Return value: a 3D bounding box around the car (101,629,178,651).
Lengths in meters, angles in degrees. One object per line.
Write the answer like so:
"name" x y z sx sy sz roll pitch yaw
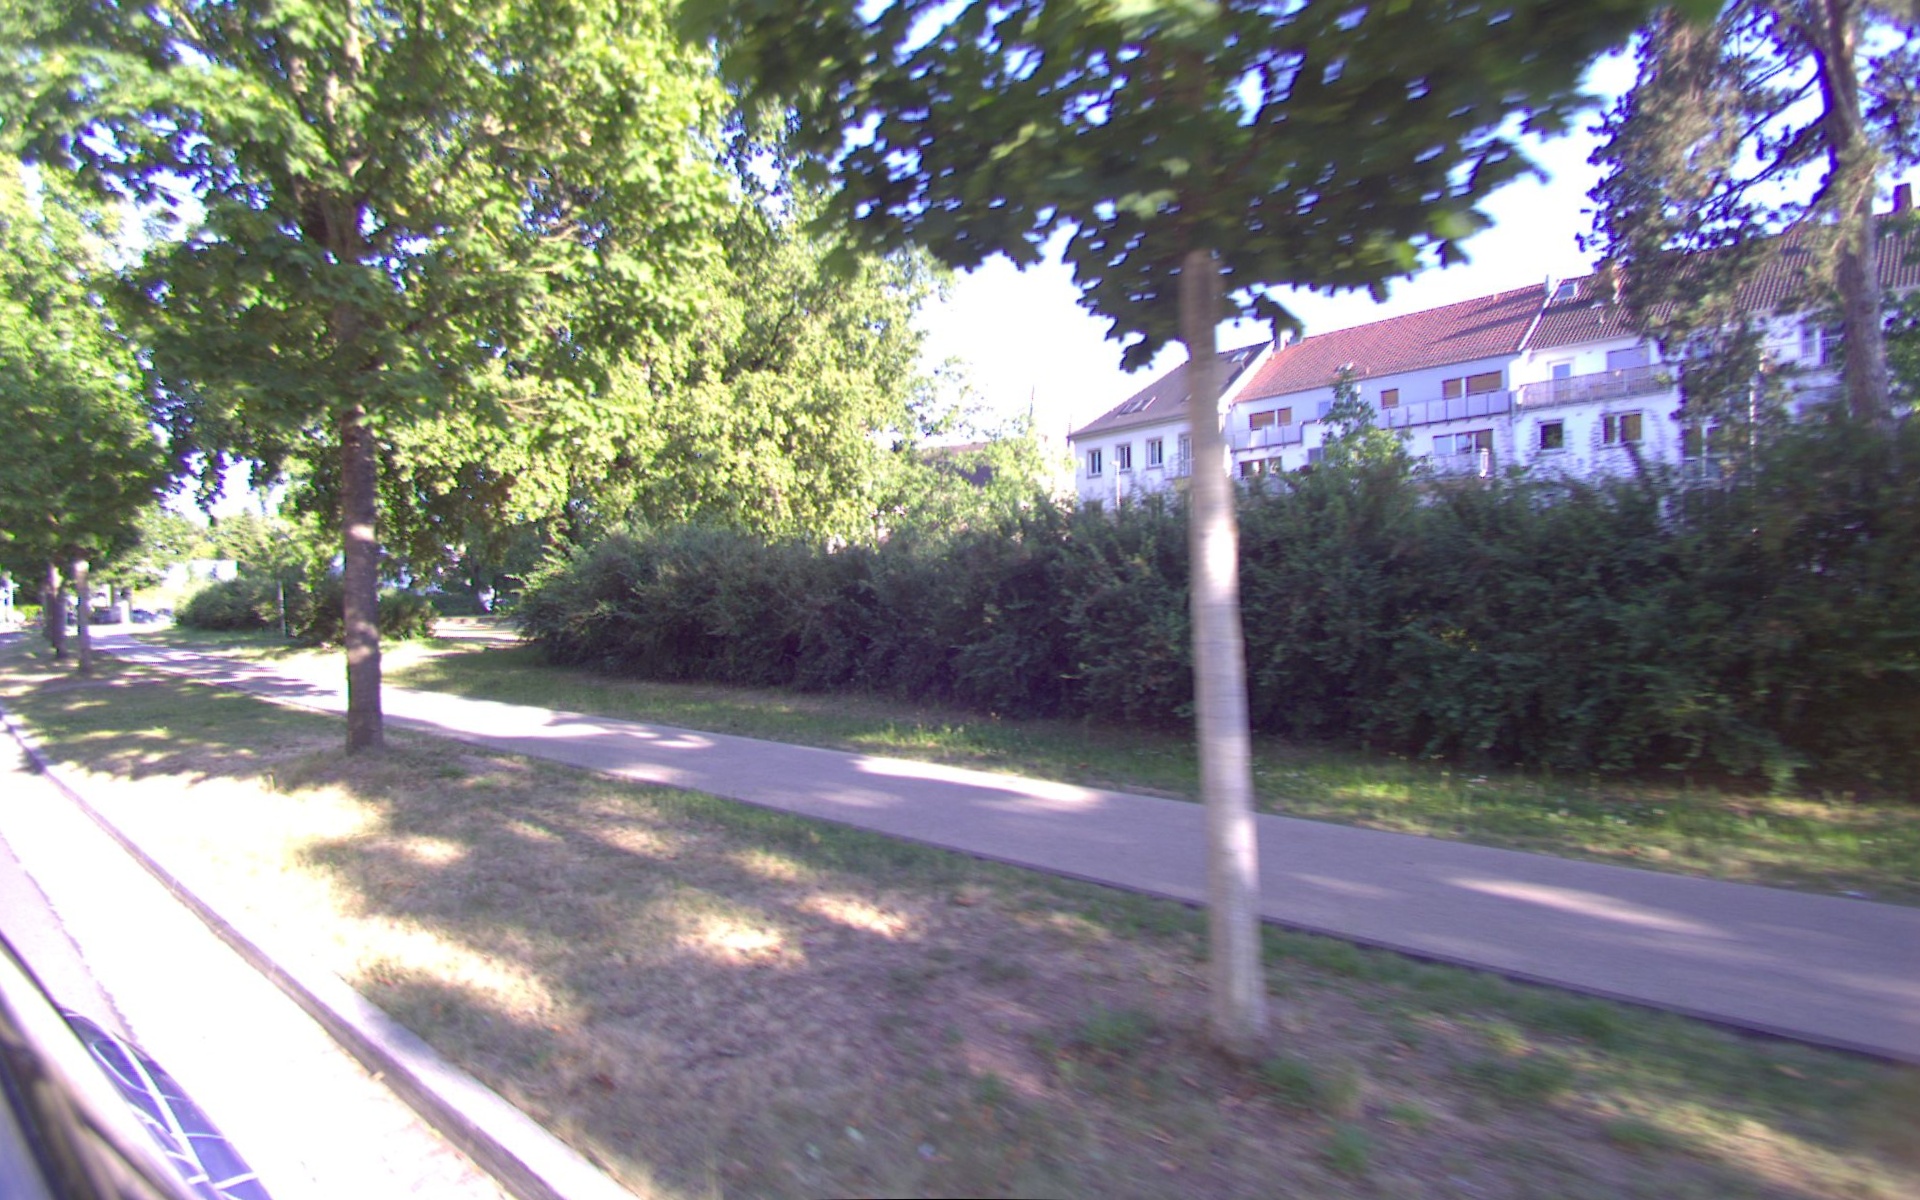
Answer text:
"car" -69.767 3.385 86.133 1.861 1.570 4.786 -1 0 31
